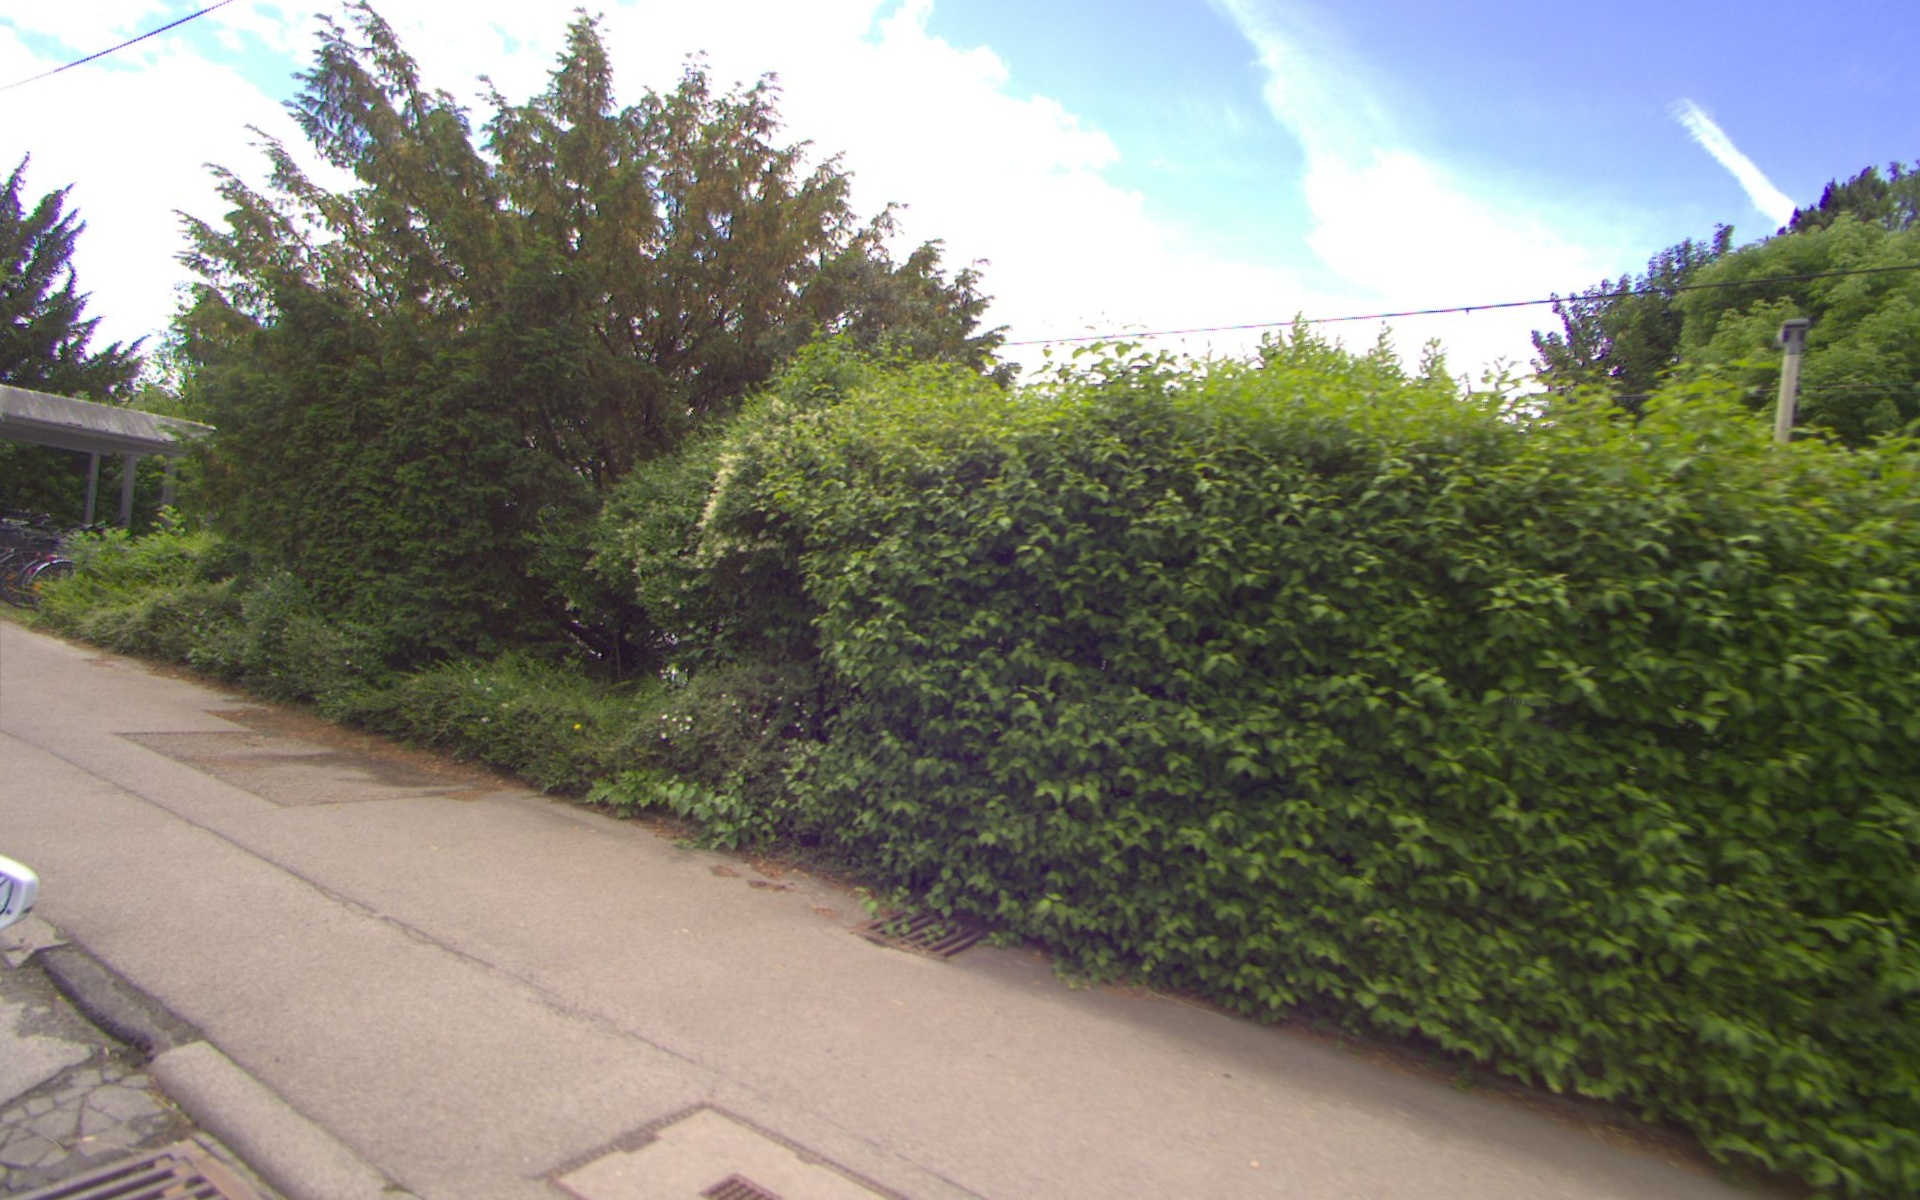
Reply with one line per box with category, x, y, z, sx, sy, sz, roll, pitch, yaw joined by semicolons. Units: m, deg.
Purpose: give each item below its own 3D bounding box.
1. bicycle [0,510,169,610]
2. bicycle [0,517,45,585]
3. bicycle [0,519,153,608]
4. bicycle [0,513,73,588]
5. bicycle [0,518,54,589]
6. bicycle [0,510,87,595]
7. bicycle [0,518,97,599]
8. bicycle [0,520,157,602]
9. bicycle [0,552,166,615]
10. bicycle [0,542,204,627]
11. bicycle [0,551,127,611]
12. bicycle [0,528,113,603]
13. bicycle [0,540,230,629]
bicycle;-12.295;-0.540;13.774;0.444;1.163;2.202;6;-1;35
bicycle;-16.234;-0.901;16.207;0.443;1.059;2.095;7;-2;27
bicycle;-12.674;-0.512;13.966;0.444;1.060;2.201;6;-1;35
bicycle;-15.013;-0.828;15.399;2.079;1.060;0.446;6;0;-40
bicycle;-15.789;-0.837;15.892;0.443;1.059;2.095;7;-2;27
bicycle;-14.408;-0.769;14.901;0.521;1.164;2.094;7;-1;27
bicycle;-13.711;-0.643;14.230;0.443;1.060;2.206;7;-1;28
bicycle;-12.909;-0.540;14.385;0.443;1.061;2.203;7;2;28
bicycle;-11.662;-0.202;13.236;0.326;0.646;1.990;7;-2;19
bicycle;-10.964;-0.170;12.864;0.444;0.836;1.994;7;-2;29
bicycle;-11.994;-0.248;13.181;0.326;0.646;1.684;7;-2;19
bicycle;-13.938;-0.550;14.781;0.443;0.949;2.207;7;-2;27
bicycle;-10.391;-0.159;12.474;0.444;0.836;2.079;6;-2;35
